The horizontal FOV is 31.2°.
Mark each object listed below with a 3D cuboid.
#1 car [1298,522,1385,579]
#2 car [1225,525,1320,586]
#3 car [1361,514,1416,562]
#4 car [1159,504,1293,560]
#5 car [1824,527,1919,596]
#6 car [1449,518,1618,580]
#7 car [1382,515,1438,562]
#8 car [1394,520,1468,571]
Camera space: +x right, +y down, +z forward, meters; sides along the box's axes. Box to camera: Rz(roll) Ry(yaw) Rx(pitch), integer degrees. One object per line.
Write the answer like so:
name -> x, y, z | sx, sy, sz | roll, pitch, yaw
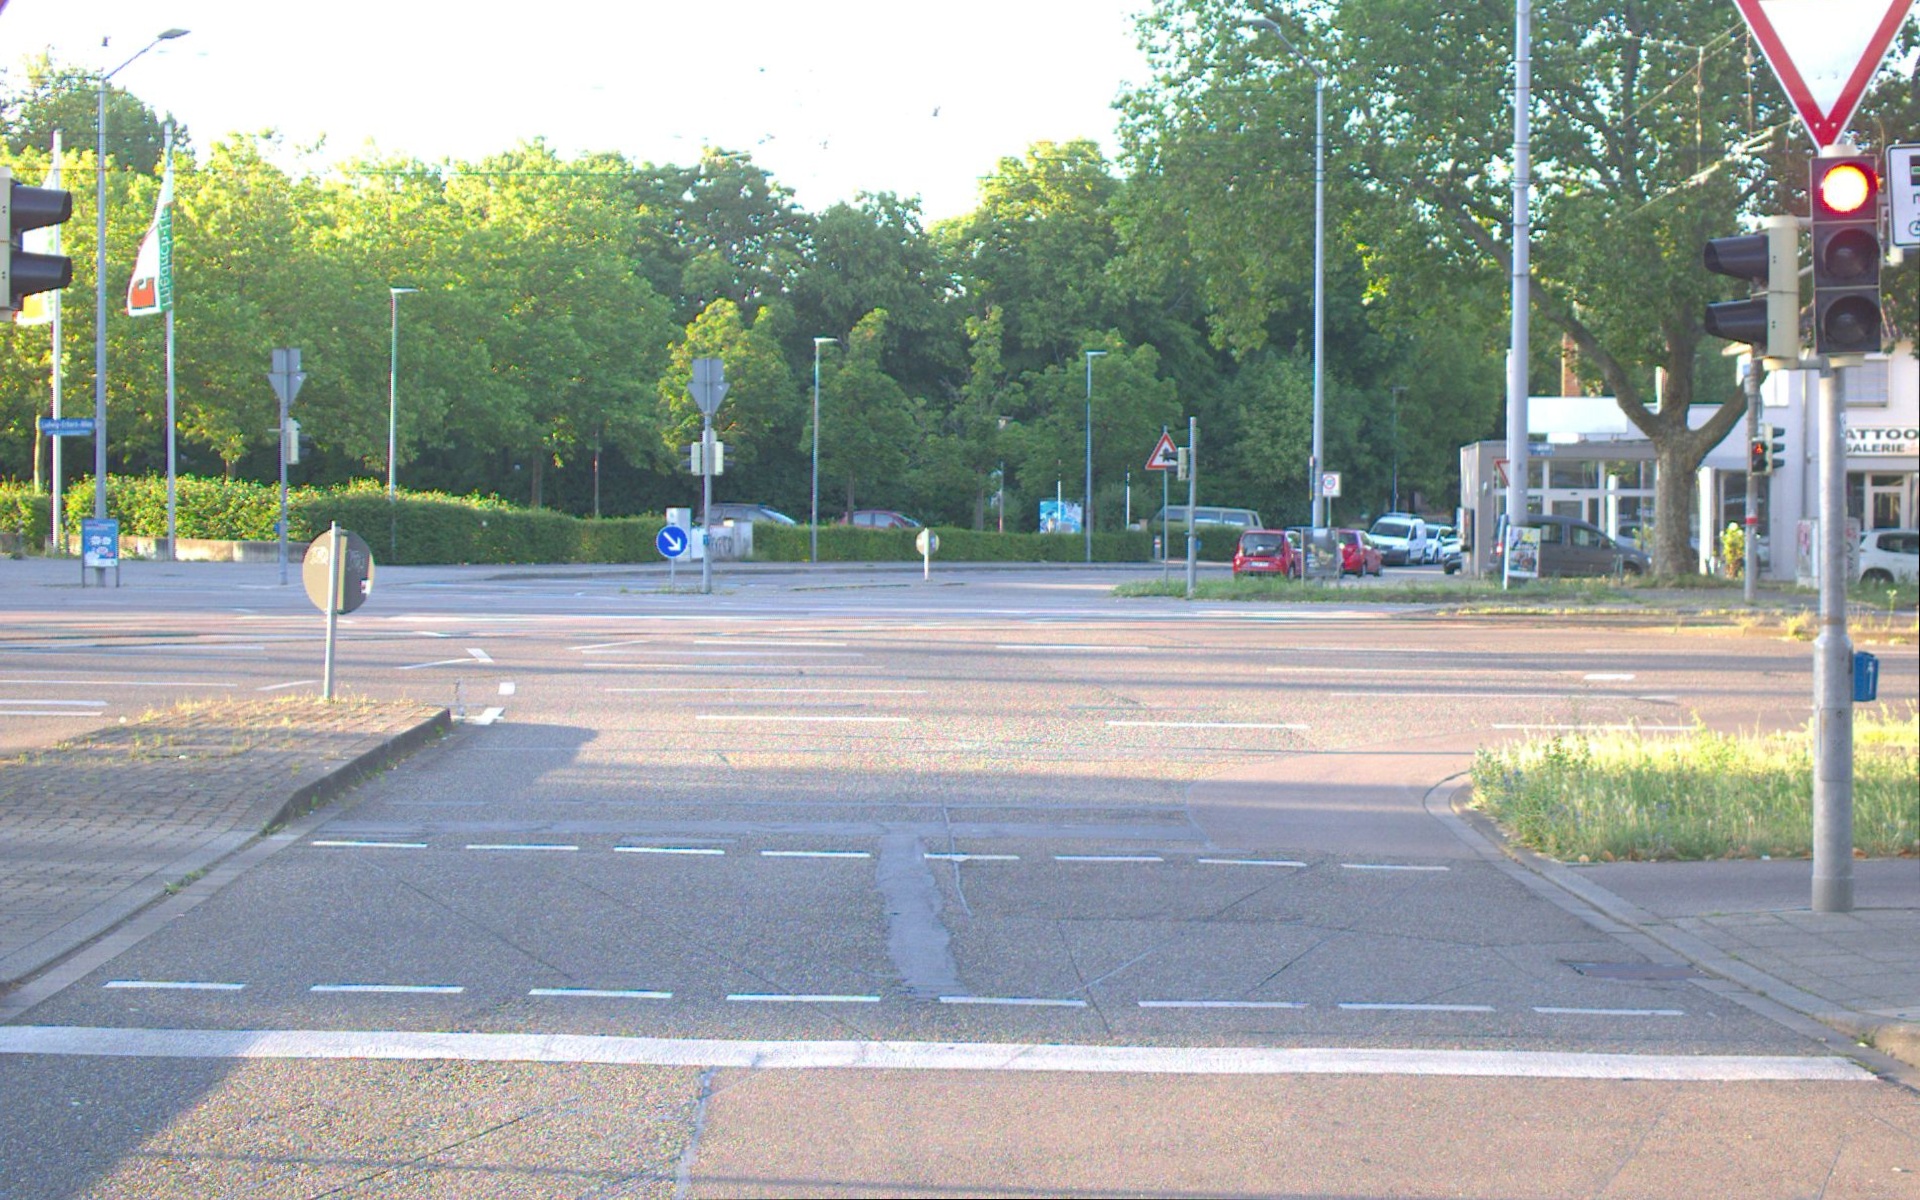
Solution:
car -> 11.502, -1.467, 103.445 | 1.995, 1.656, 3.997 | 1, 0, 15
car -> 8.724, -1.218, 95.759 | 1.995, 1.656, 3.997 | 1, 0, 15
car -> 16.365, -2.358, 131.261 | 1.864, 1.788, 3.998 | 1, 0, 10
car -> 9.722, -2.483, 125.945 | 4.774, 1.999, 2.000 | 1, 0, 2
car -> 20.188, -0.800, 72.346 | 3.741, 1.435, 1.663 | 1, 0, 9
car -> 14.861, -1.323, 89.241 | 4.220, 1.547, 1.999 | 1, 0, 7
car -> 17.819, -2.427, 136.156 | 1.864, 1.788, 3.998 | 1, 0, 12
car -> 15.864, -1.822, 115.671 | 1.995, 1.656, 3.997 | 1, 0, 15
